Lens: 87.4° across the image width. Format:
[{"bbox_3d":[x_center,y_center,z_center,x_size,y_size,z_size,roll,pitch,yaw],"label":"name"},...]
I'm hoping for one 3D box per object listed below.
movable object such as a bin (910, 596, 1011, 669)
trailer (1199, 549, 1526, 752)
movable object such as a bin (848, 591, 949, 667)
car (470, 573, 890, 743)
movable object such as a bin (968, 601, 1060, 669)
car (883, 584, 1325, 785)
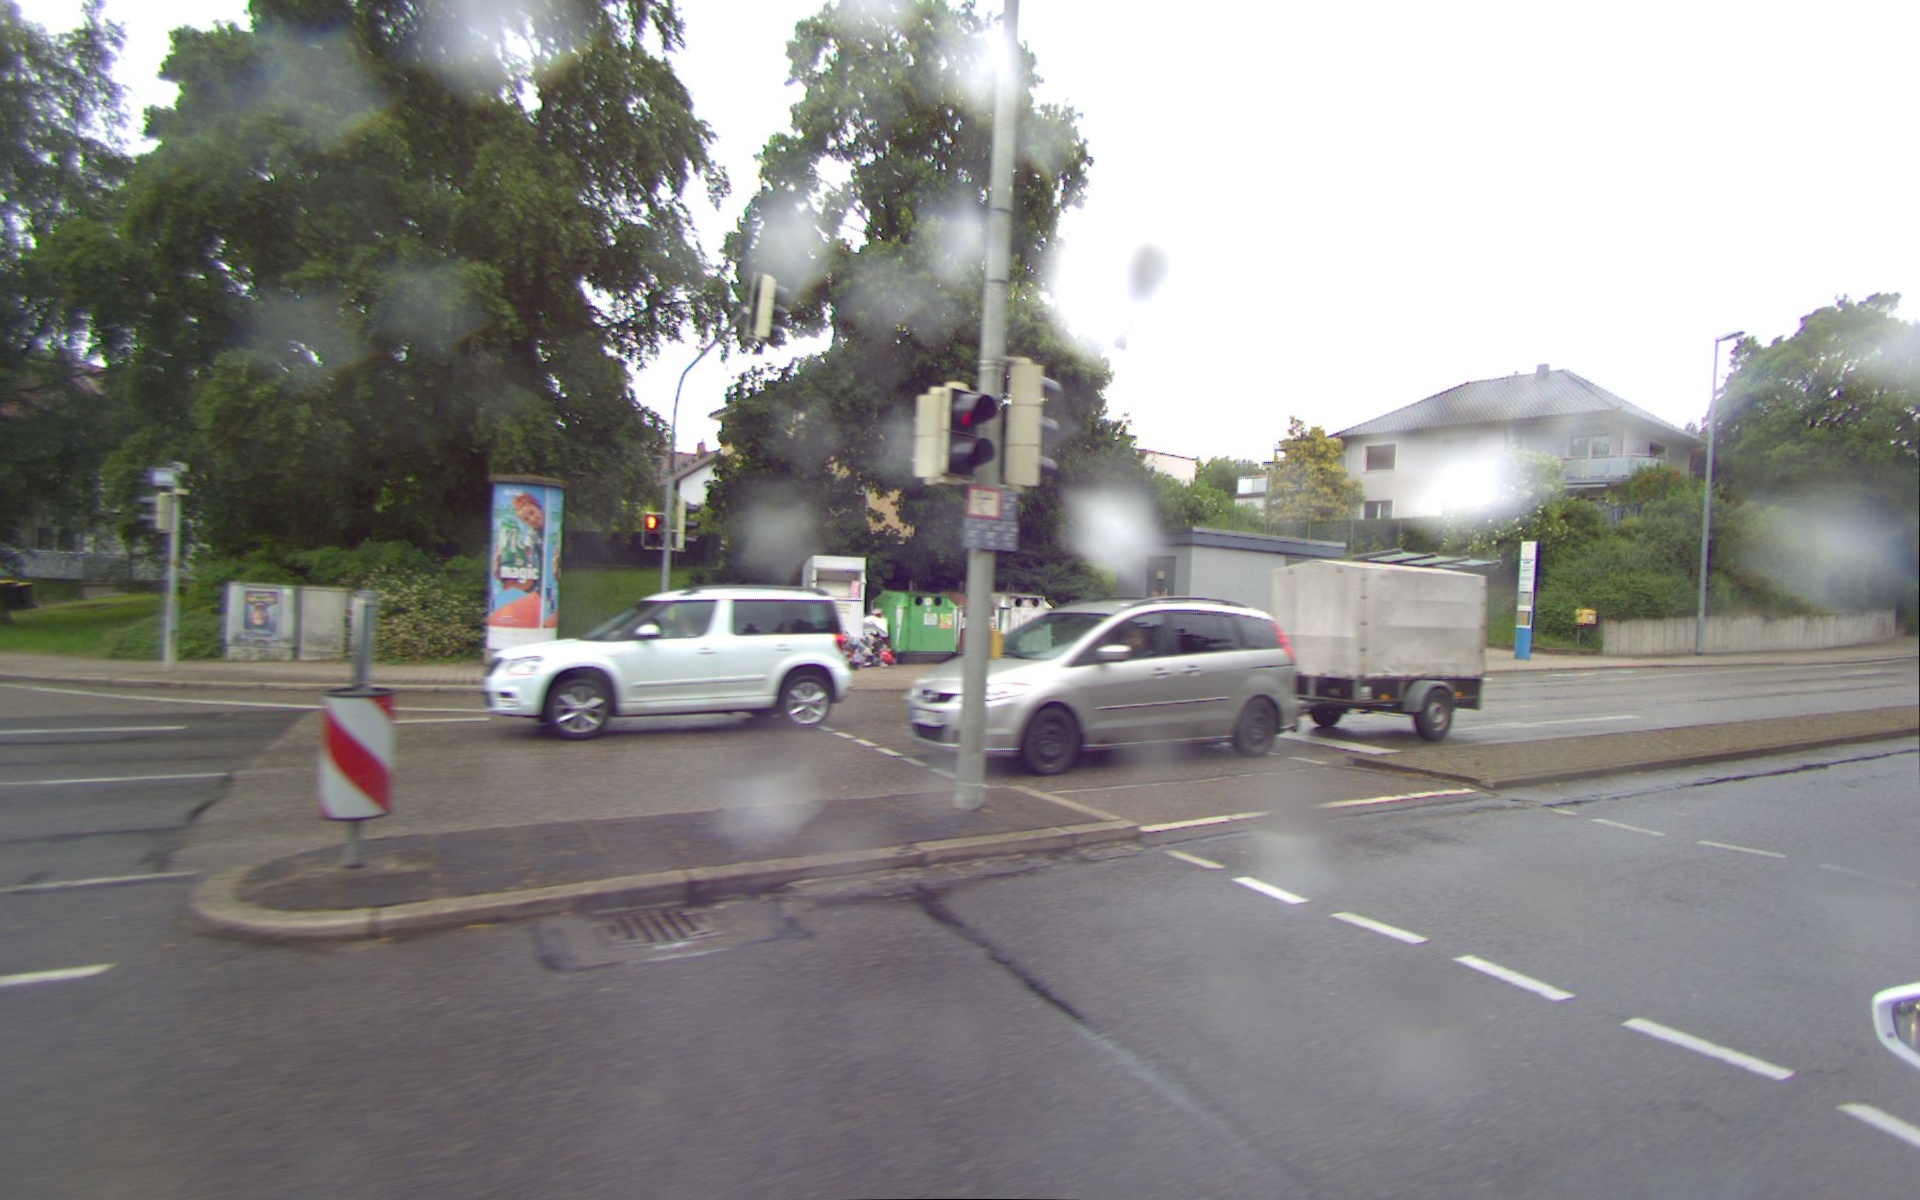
[{"bbox_3d":[-0.014,0.725,23.226,1.561,1.590,2.050,1,0,-27],"label":"movable object such as a bin"},{"bbox_3d":[5.185,0.618,12.821,3.992,2.208,1.885,2,-1,-33],"label":"trailer"},{"bbox_3d":[-1.392,0.624,22.457,1.561,1.590,2.050,1,0,-27],"label":"movable object such as a bin"},{"bbox_3d":[-3.224,0.673,11.751,4.411,1.678,1.816,3,-2,-28],"label":"car"},{"bbox_3d":[1.264,0.800,23.922,1.327,1.535,2.050,1,0,-27],"label":"movable object such as a bin"},{"bbox_3d":[1.592,0.746,10.516,4.430,1.705,1.889,1,0,-33],"label":"car"}]
